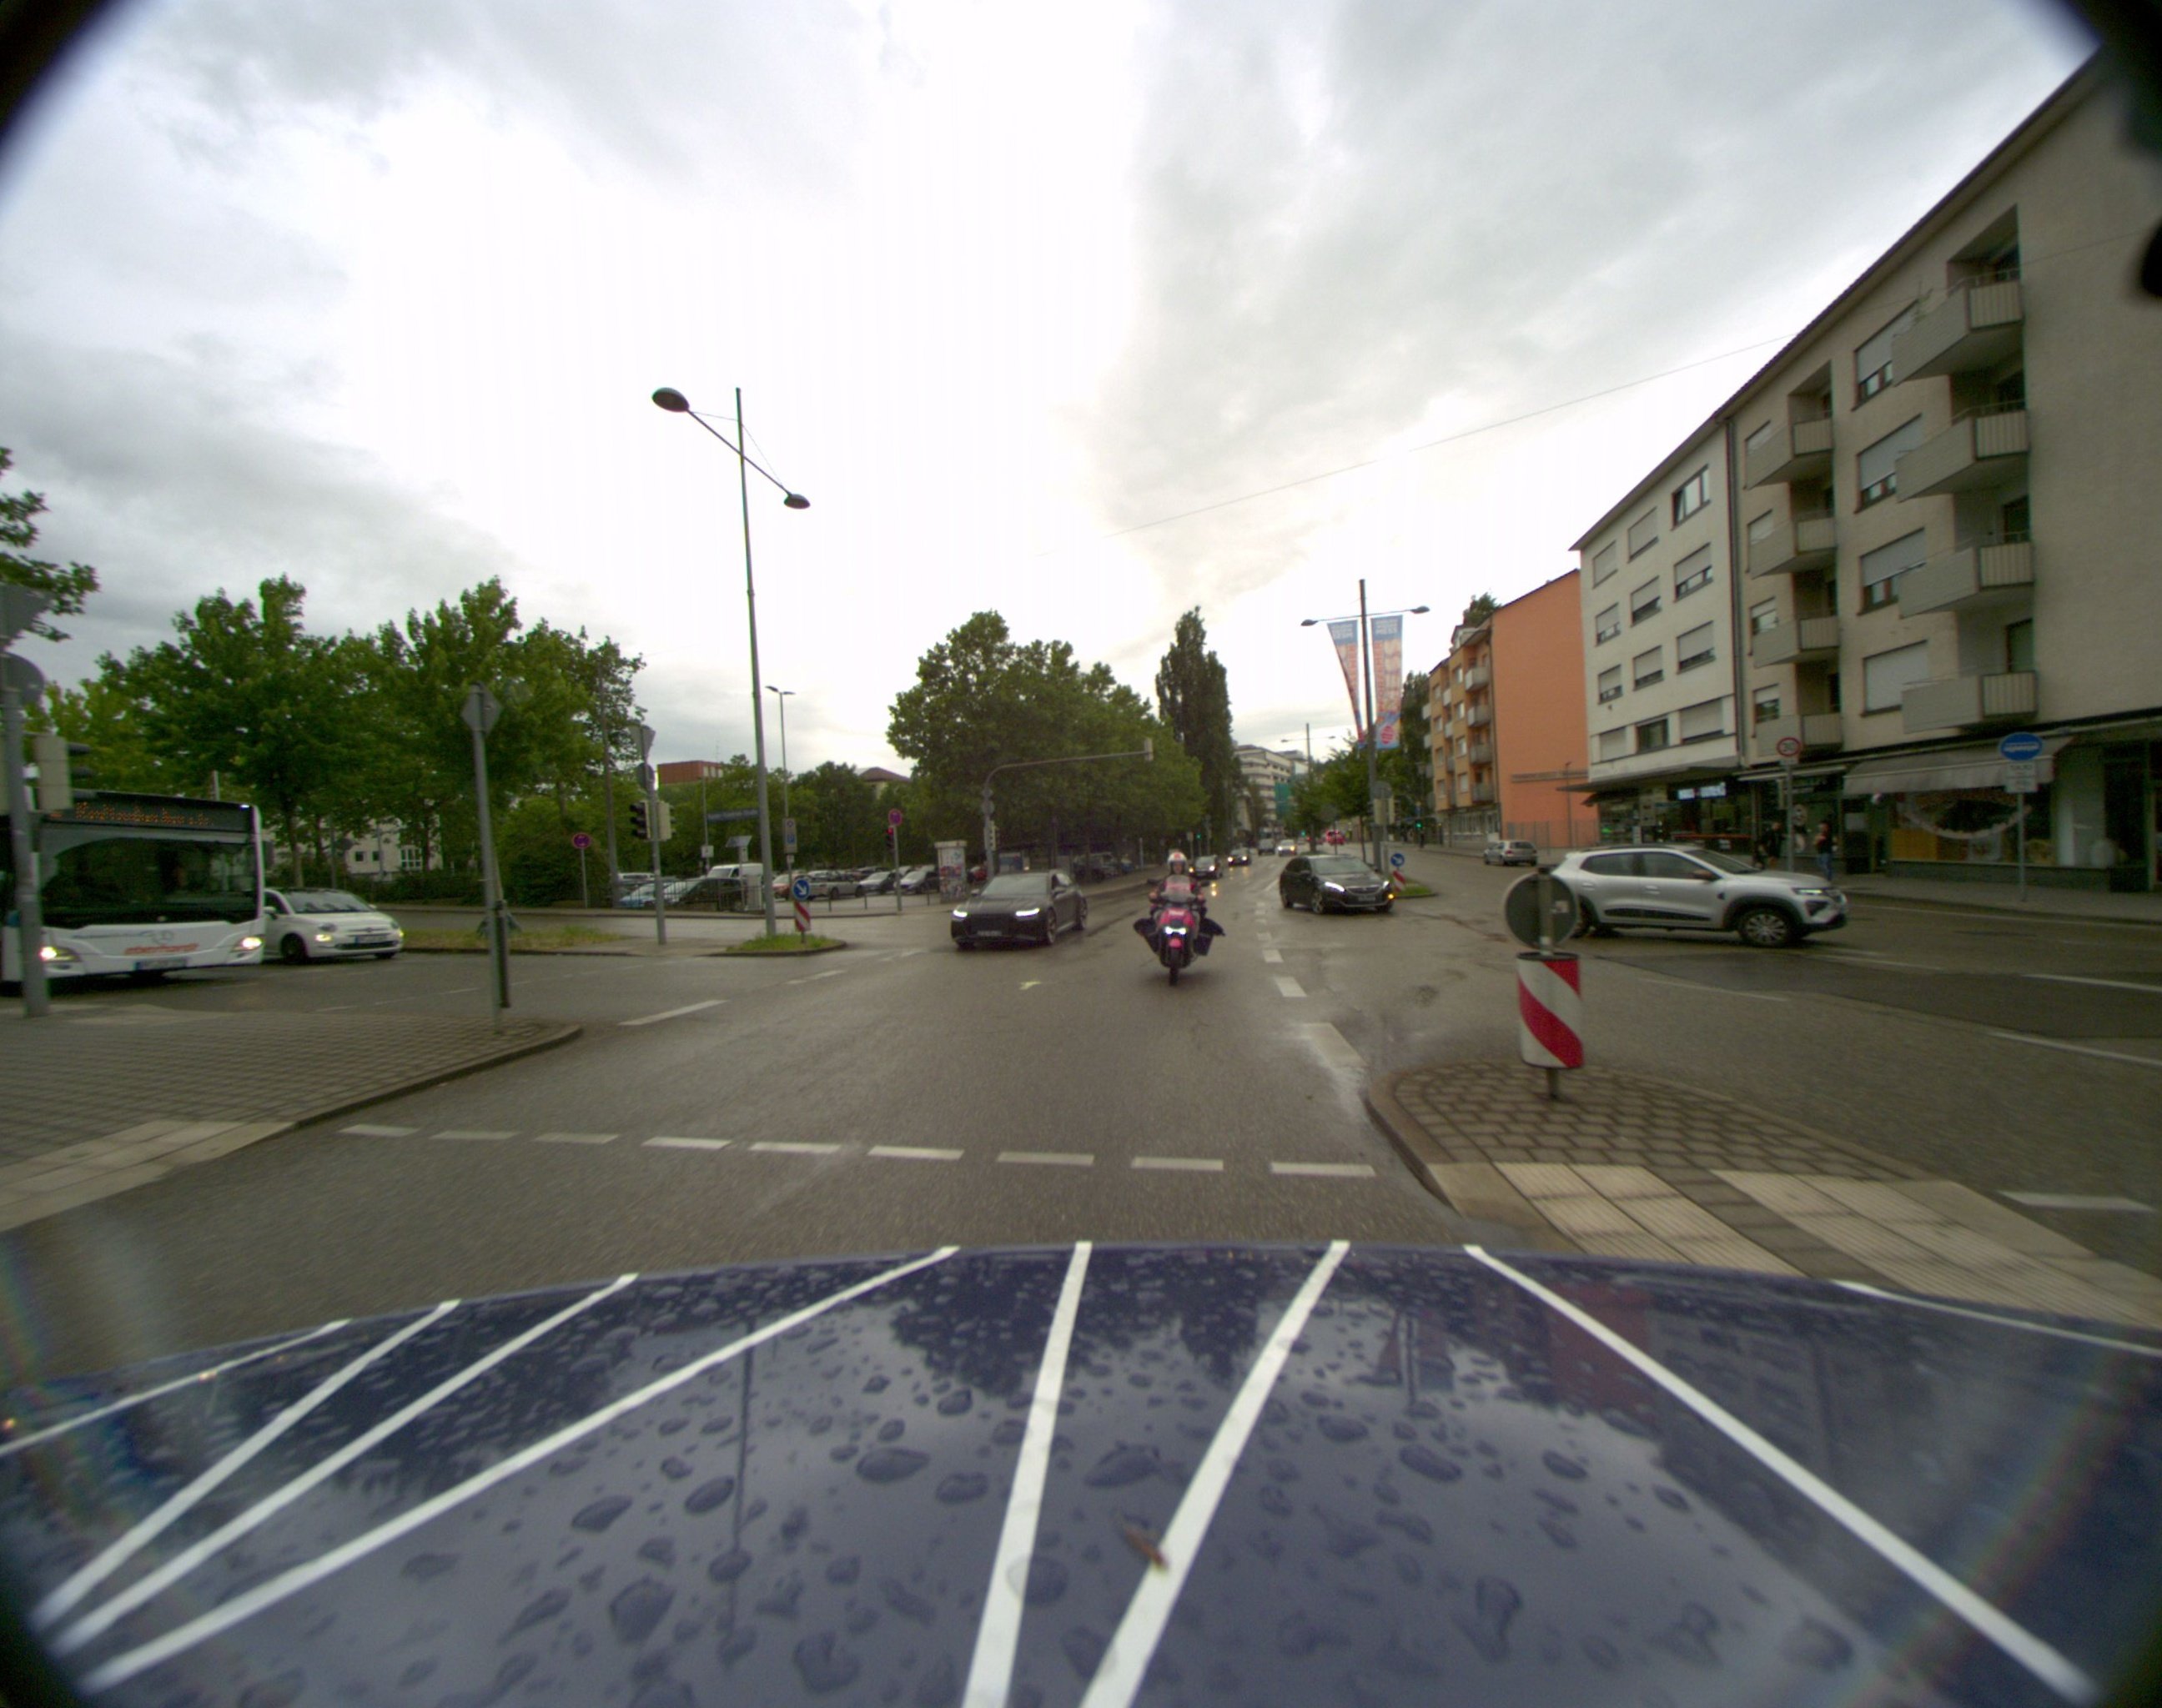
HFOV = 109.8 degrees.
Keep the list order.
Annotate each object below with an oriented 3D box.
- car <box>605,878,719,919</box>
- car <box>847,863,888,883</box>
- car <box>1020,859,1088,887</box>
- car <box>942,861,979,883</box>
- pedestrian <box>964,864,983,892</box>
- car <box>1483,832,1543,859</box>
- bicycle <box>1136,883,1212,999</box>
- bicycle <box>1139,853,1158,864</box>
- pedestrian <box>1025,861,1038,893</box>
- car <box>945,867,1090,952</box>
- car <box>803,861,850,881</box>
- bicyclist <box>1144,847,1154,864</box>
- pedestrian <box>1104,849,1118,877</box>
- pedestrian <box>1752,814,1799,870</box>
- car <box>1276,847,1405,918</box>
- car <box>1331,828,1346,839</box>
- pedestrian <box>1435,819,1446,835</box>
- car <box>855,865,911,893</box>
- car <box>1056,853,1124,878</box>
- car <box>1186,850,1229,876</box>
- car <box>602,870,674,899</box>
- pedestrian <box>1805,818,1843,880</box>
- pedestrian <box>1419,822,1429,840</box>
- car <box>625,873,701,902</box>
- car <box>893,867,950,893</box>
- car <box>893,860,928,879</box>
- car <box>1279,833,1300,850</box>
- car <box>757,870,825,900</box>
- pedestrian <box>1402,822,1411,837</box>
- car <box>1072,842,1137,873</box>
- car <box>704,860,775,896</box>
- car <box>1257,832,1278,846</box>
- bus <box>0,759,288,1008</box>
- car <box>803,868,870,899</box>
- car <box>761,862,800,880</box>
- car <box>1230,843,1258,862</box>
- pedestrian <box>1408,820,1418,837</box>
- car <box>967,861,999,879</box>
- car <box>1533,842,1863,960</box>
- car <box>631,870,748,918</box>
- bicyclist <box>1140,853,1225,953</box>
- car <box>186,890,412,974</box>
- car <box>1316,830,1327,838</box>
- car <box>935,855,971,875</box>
[{"bbox_3d":[-18.272,1.898,33.361,1.853,1.432,4.266,-3,1,15],"label":"car"},{"bbox_3d":[-17.313,1.517,61.732,1.530,1.495,3.636,-2,0,15],"label":"car"},{"bbox_3d":[-1.889,1.328,54.258,4.408,1.476,1.864,-6,1,13],"label":"car"},{"bbox_3d":[-9.510,1.408,60.369,1.638,1.414,3.357,-4,2,13],"label":"car"},{"bbox_3d":[-6.581,1.485,46.692,0.766,1.623,0.862,-3,0,17],"label":"pedestrian"},{"bbox_3d":[23.625,-0.481,41.695,1.678,1.384,4.155,-1,1,12],"label":"car"},{"bbox_3d":[1.301,1.078,10.207,0.716,1.297,2.430,-1,-1,13],"label":"bicycle"},{"bbox_3d":[7.510,0.506,84.620,1.932,1.088,0.650,-4,2,-1],"label":"bicycle"},{"bbox_3d":[-2.732,1.264,42.011,0.540,1.685,0.555,-3,0,7],"label":"pedestrian"},{"bbox_3d":[-1.180,1.080,16.336,1.895,1.396,4.364,-2,1,12],"label":"car"},{"bbox_3d":[-23.369,1.543,70.064,1.970,1.660,4.634,-2,0,12],"label":"car"},{"bbox_3d":[7.572,0.155,84.583,0.987,1.760,0.796,-4,2,-1],"label":"bicyclist"},{"bbox_3d":[1.995,0.616,51.223,0.733,1.831,0.757,-5,2,-3],"label":"pedestrian"},{"bbox_3d":[22.630,-0.382,24.785,0.779,1.719,0.661,-7,0,17],"label":"pedestrian"},{"bbox_3d":[6.558,0.636,19.755,1.803,1.426,4.395,-5,1,1],"label":"car"},{"bbox_3d":[36.328,-2.858,107.124,1.605,1.422,3.947,-1,2,13],"label":"car"},{"bbox_3d":[39.638,-2.993,83.721,0.747,1.681,0.682,-4,2,-17],"label":"pedestrian"},{"bbox_3d":[-12.866,1.594,49.696,1.759,1.581,4.004,-2,0,15],"label":"car"},{"bbox_3d":[0.692,0.879,58.159,4.745,1.397,1.864,-6,1,19],"label":"car"},{"bbox_3d":[7.876,0.540,47.104,1.894,1.391,4.366,-1,1,19],"label":"car"},{"bbox_3d":[-31.565,2.126,54.310,1.831,1.819,4.368,-2,0,13],"label":"car"},{"bbox_3d":[21.293,-0.144,21.788,0.453,1.720,0.525,-7,0,18],"label":"pedestrian"},{"bbox_3d":[34.306,-2.289,75.956,0.560,1.719,0.609,-7,0,-4],"label":"pedestrian"},{"bbox_3d":[-26.413,2.078,48.143,1.759,1.557,4.005,-2,0,19],"label":"car"},{"bbox_3d":[-10.206,1.641,48.971,1.736,1.432,4.449,-2,0,14],"label":"car"},{"bbox_3d":[-15.330,1.412,68.443,1.530,1.549,3.636,-2,0,15],"label":"car"},{"bbox_3d":[21.396,-1.290,78.080,1.894,1.567,4.365,-2,1,15],"label":"car"},{"bbox_3d":[-17.420,1.830,45.805,1.759,1.581,4.004,-2,0,15],"label":"car"},{"bbox_3d":[38.257,-2.913,89.202,0.766,1.686,0.800,-3,2,12],"label":"pedestrian"},{"bbox_3d":[1.932,0.291,62.185,4.842,1.931,1.952,-6,1,19],"label":"car"},{"bbox_3d":[-24.192,1.656,54.059,1.970,2.306,5.017,-2,0,12],"label":"car"},{"bbox_3d":[21.553,-1.770,87.592,1.894,1.480,4.366,-1,1,19],"label":"car"},{"bbox_3d":[-17.963,0.445,12.401,9.639,3.197,2.709,0,-2,16],"label":"bus"},{"bbox_3d":[-14.427,1.704,45.158,1.759,1.581,4.181,-2,0,15],"label":"car"},{"bbox_3d":[-28.465,1.565,71.996,1.529,1.583,3.615,-2,0,16],"label":"car"},{"bbox_3d":[13.715,-0.140,63.718,1.894,1.413,4.366,-1,1,18],"label":"car"},{"bbox_3d":[37.333,-2.855,85.424,0.745,1.876,0.800,-3,2,12],"label":"pedestrian"},{"bbox_3d":[-8.451,1.371,65.680,1.530,1.419,3.840,-2,0,10],"label":"car"},{"bbox_3d":[9.287,0.640,11.722,1.544,1.453,3.621,-4,1,-34],"label":"car"},{"bbox_3d":[-16.004,1.611,31.336,1.802,1.603,4.266,-3,1,15],"label":"car"},{"bbox_3d":[1.348,0.633,10.014,0.962,1.218,0.716,-4,-2,13],"label":"bicyclist"},{"bbox_3d":[-15.575,1.542,15.176,3.562,1.443,1.592,-3,0,16],"label":"car"},{"bbox_3d":[45.305,-3.770,143.141,1.569,1.385,3.837,-2,2,14],"label":"car"},{"bbox_3d":[-13.154,1.081,78.260,1.779,1.679,4.448,-4,1,15],"label":"car"}]
